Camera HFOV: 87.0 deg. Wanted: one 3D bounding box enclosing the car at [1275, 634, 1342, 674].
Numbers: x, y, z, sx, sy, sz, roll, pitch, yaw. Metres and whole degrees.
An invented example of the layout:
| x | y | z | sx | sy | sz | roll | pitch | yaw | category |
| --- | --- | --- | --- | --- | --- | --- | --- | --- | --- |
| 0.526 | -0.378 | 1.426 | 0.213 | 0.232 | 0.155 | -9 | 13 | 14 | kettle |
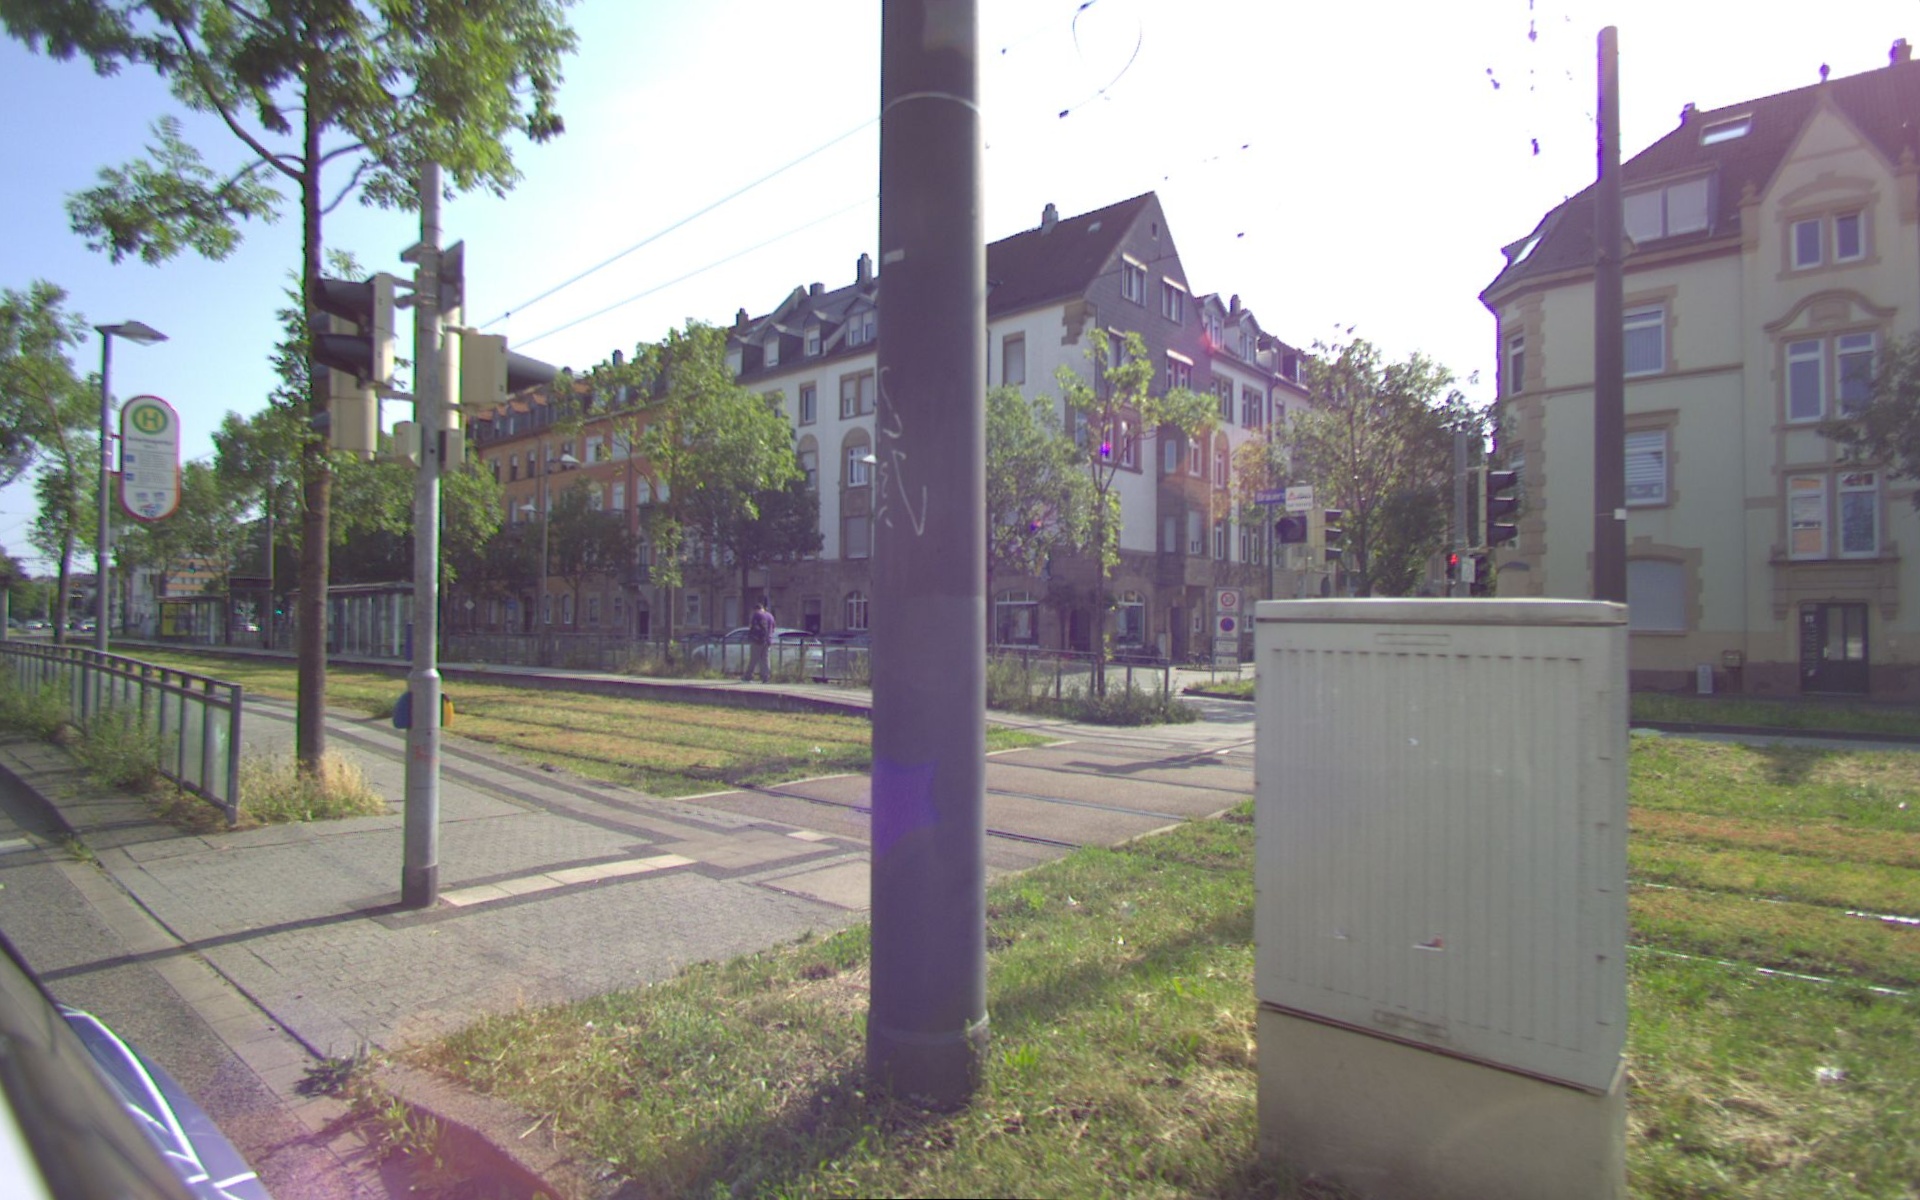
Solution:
| x | y | z | sx | sy | sz | roll | pitch | yaw | category |
| --- | --- | --- | --- | --- | --- | --- | --- | --- | --- |
| 17.402 | 2.636 | 50.438 | 1.727 | 1.707 | 3.945 | -1 | 1 | 42 | car |

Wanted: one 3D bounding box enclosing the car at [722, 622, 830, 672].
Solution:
| x | y | z | sx | sy | sz | roll | pitch | yaw | category |
| --- | --- | --- | --- | --- | --- | --- | --- | --- | --- |
| -7.098 | 1.773 | 38.949 | 3.933 | 1.739 | 2.006 | -1 | 0 | -14 | car |

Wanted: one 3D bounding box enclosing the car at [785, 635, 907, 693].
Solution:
| x | y | z | sx | sy | sz | roll | pitch | yaw | category |
| --- | --- | --- | --- | --- | --- | --- | --- | --- | --- |
| -3.991 | 2.181 | 35.082 | 3.933 | 1.739 | 2.006 | -1 | 0 | -14 | car |

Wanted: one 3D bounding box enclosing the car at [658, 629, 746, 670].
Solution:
| x | y | z | sx | sy | sz | roll | pitch | yaw | category |
| --- | --- | --- | --- | --- | --- | --- | --- | --- | --- |
| -11.548 | 2.158 | 45.251 | 3.999 | 1.632 | 1.882 | -1 | 1 | 42 | car |

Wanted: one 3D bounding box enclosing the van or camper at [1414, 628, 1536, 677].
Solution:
| x | y | z | sx | sy | sz | roll | pitch | yaw | category |
| --- | --- | --- | --- | --- | --- | --- | --- | --- | --- |
| 22.486 | 2.245 | 44.409 | 1.746 | 1.936 | 5.089 | 2 | -1 | -16 | van or camper |

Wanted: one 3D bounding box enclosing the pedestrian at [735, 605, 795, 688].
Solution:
| x | y | z | sx | sy | sz | roll | pitch | yaw | category |
| --- | --- | --- | --- | --- | --- | --- | --- | --- | --- |
| -4.013 | 0.945 | 20.840 | 0.852 | 1.667 | 0.874 | -1 | -2 | 41 | pedestrian |

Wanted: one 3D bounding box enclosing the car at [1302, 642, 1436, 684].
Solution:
| x | y | z | sx | sy | sz | roll | pitch | yaw | category |
| --- | --- | --- | --- | --- | --- | --- | --- | --- | --- |
| 14.092 | 2.144 | 34.994 | 3.998 | 1.309 | 1.650 | -1 | -3 | 41 | car |

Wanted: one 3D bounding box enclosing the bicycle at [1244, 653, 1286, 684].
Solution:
| x | y | z | sx | sy | sz | roll | pitch | yaw | category |
| --- | --- | --- | --- | --- | --- | --- | --- | --- | --- |
| 10.354 | 2.318 | 34.319 | 0.855 | 0.872 | 1.997 | -1 | 0 | 32 | bicycle |

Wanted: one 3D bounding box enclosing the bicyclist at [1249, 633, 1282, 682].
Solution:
| x | y | z | sx | sy | sz | roll | pitch | yaw | category |
| --- | --- | --- | --- | --- | --- | --- | --- | --- | --- |
| 10.362 | 1.938 | 34.299 | 0.846 | 1.570 | 0.893 | -1 | 0 | 32 | bicyclist |

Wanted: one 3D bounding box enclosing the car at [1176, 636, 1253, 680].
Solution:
| x | y | z | sx | sy | sz | roll | pitch | yaw | category |
| --- | --- | --- | --- | --- | --- | --- | --- | --- | --- |
| 10.836 | 2.410 | 42.976 | 1.604 | 1.595 | 3.774 | -1 | 1 | 42 | car |

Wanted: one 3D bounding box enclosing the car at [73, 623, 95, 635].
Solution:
| x | y | z | sx | sy | sz | roll | pitch | yaw | category |
| --- | --- | --- | --- | --- | --- | --- | --- | --- | --- |
| -116.301 | 3.876 | 134.290 | 3.998 | 1.526 | 1.650 | -1 | -3 | 41 | car |

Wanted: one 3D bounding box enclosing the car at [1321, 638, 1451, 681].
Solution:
| x | y | z | sx | sy | sz | roll | pitch | yaw | category |
| --- | --- | --- | --- | --- | --- | --- | --- | --- | --- |
| 15.296 | 2.105 | 36.430 | 3.998 | 1.423 | 1.650 | -1 | -3 | 41 | car |

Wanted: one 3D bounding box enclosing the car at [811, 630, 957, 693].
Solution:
| x | y | z | sx | sy | sz | roll | pitch | yaw | category |
| --- | --- | --- | --- | --- | --- | --- | --- | --- | --- |
| -2.123 | 1.625 | 27.587 | 3.998 | 1.526 | 1.650 | -1 | -3 | 41 | car |

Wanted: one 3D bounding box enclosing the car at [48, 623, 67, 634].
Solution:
| x | y | z | sx | sy | sz | roll | pitch | yaw | category |
| --- | --- | --- | --- | --- | --- | --- | --- | --- | --- |
| -135.748 | 4.300 | 152.256 | 3.998 | 1.526 | 1.650 | -1 | -3 | 41 | car |

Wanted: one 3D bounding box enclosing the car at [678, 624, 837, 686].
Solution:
| x | y | z | sx | sy | sz | roll | pitch | yaw | category |
| --- | --- | --- | --- | --- | --- | --- | --- | --- | --- |
| -5.358 | 1.391 | 26.484 | 4.422 | 1.451 | 1.753 | -1 | -3 | 41 | car |

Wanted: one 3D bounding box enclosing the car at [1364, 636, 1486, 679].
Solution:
| x | y | z | sx | sy | sz | roll | pitch | yaw | category |
| --- | --- | --- | --- | --- | --- | --- | --- | --- | --- |
| 17.880 | 2.188 | 38.990 | 3.998 | 1.526 | 1.650 | -1 | -3 | 41 | car |
